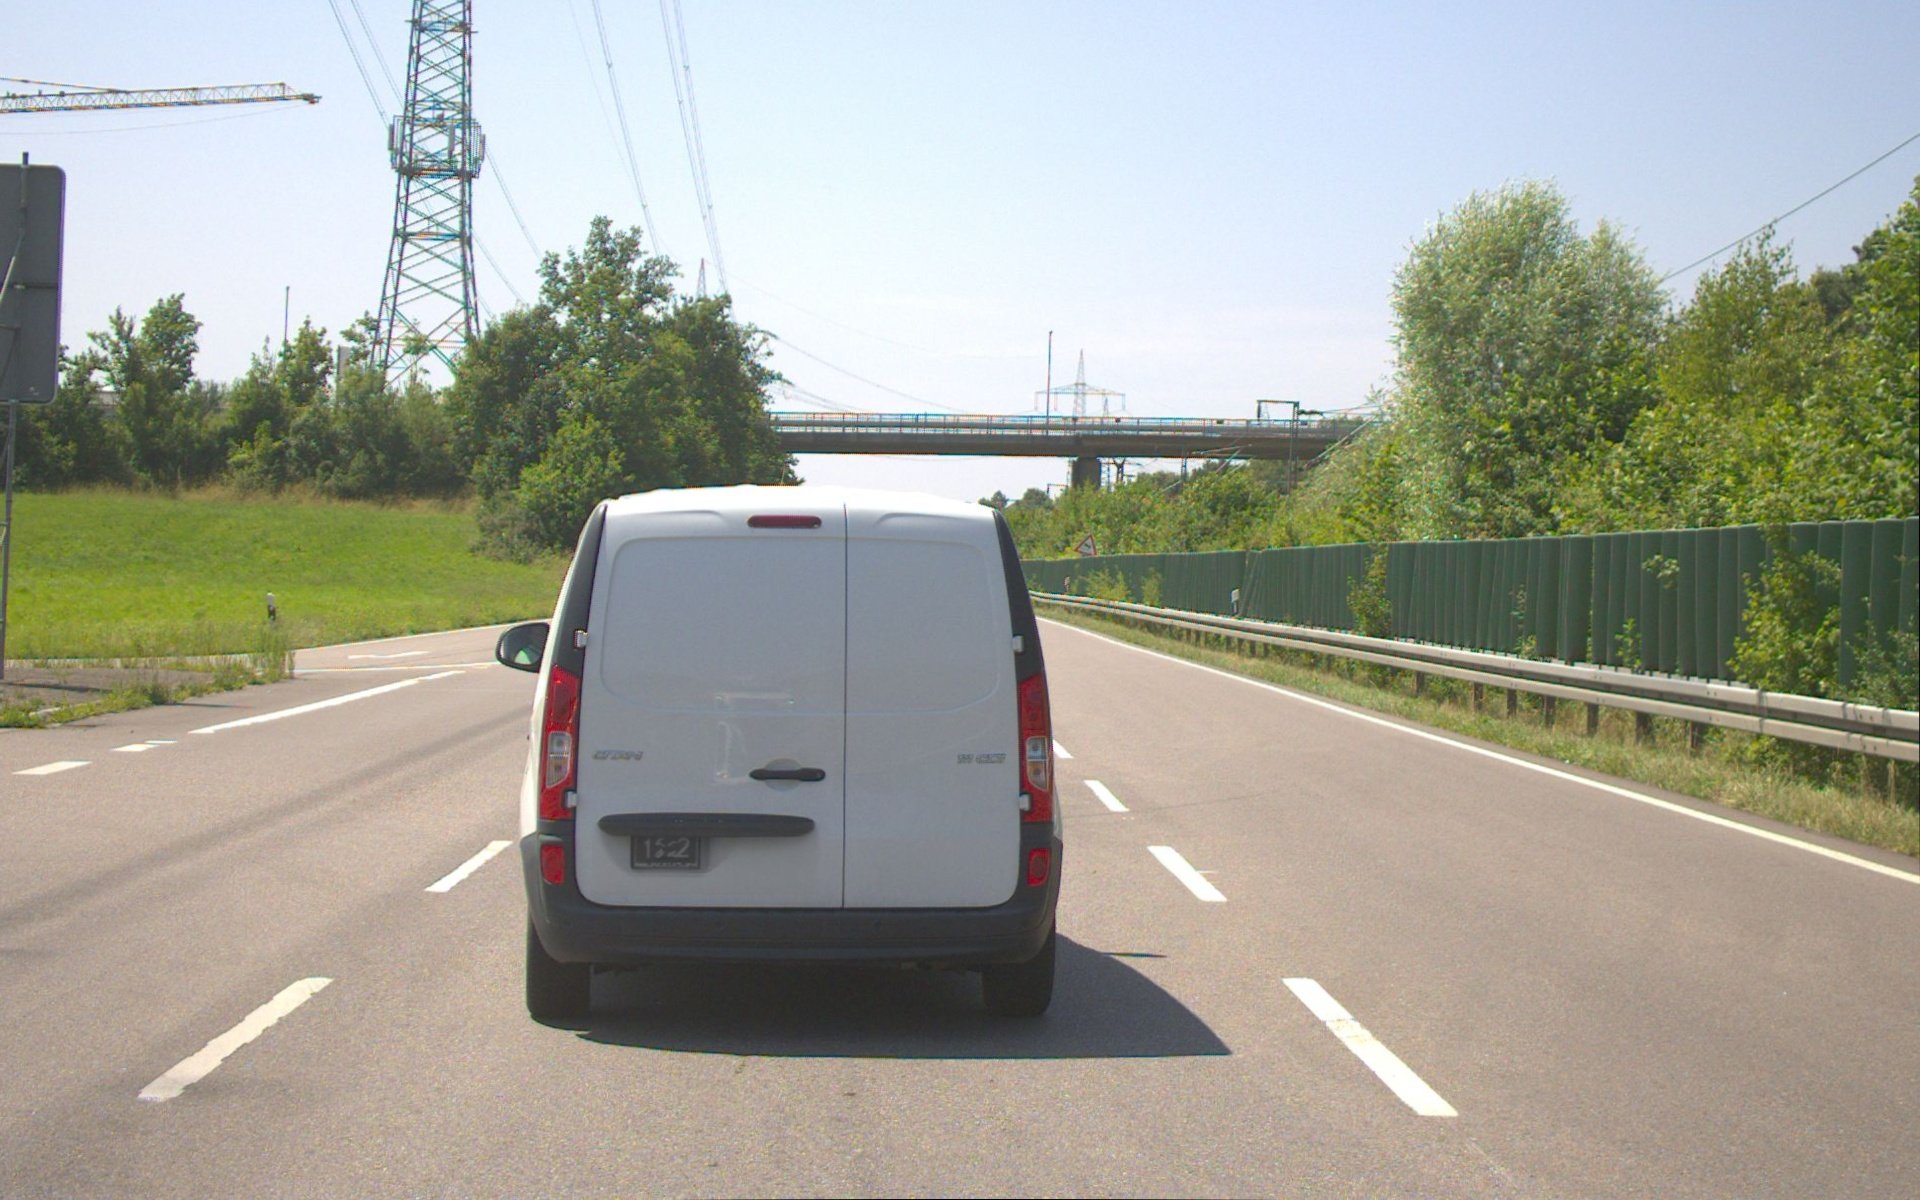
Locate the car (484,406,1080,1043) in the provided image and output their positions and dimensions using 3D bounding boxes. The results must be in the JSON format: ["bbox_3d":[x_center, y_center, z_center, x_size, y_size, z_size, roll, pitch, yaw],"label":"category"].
[{"bbox_3d":[-0.734,0.369,12.667,1.826,1.964,4.001,1,1,-5],"label":"car"}]
